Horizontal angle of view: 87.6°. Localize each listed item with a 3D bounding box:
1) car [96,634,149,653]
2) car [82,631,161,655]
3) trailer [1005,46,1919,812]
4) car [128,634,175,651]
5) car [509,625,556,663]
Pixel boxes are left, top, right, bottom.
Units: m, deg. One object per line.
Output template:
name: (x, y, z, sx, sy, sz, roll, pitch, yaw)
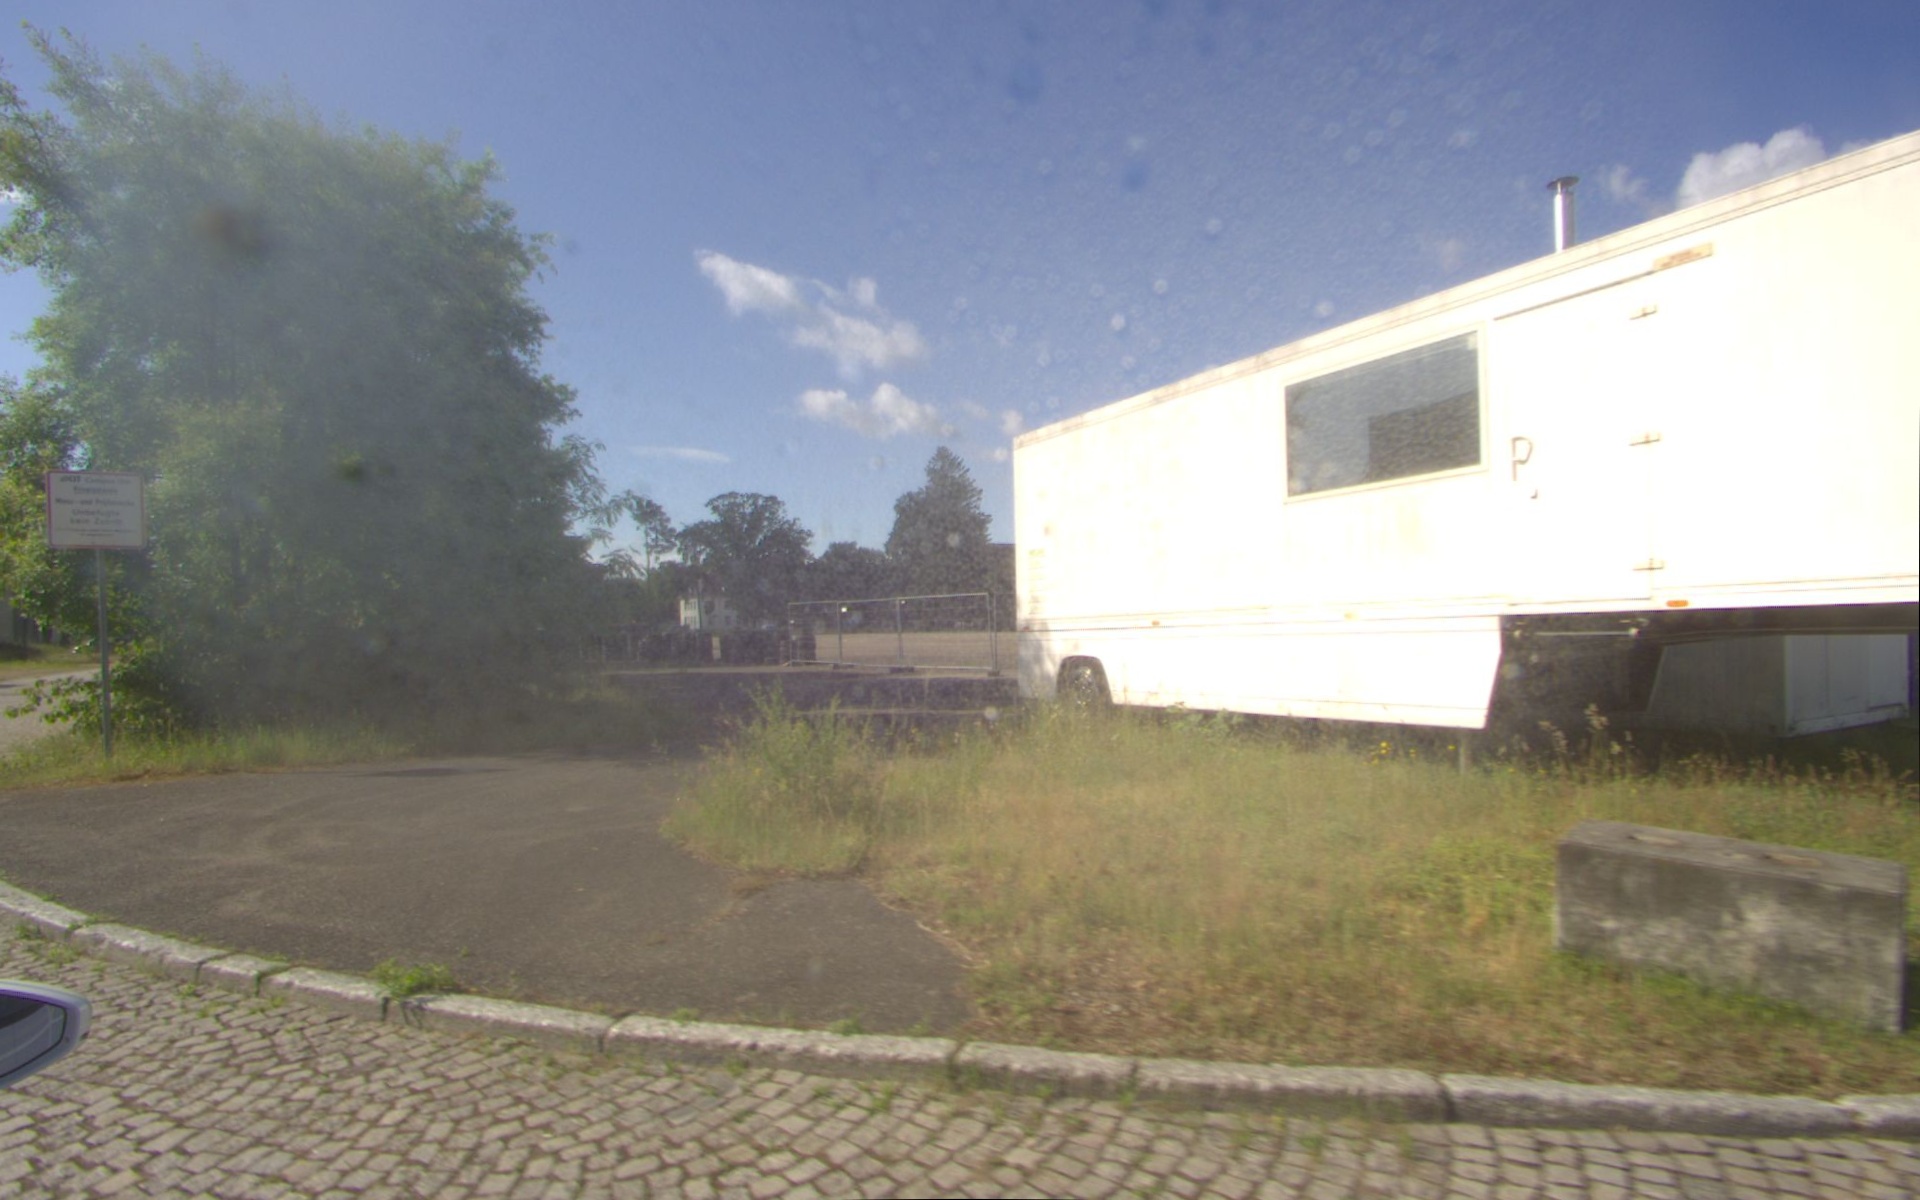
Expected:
car: (-59.121, 3.058, 70.711, 2.881, 1.276, 1.277, 0, -1, -42)
car: (-54.671, 2.806, 65.352, 3.796, 1.460, 1.573, 0, -1, -35)
trailer: (4.477, -0.782, 8.784, 2.741, 3.961, 10.831, 0, -1, -30)
car: (-63.662, 3.317, 78.848, 2.832, 1.222, 1.362, 0, -1, -42)
car: (-17.144, 1.722, 40.062, 1.522, 1.425, 3.563, 0, -2, -27)
